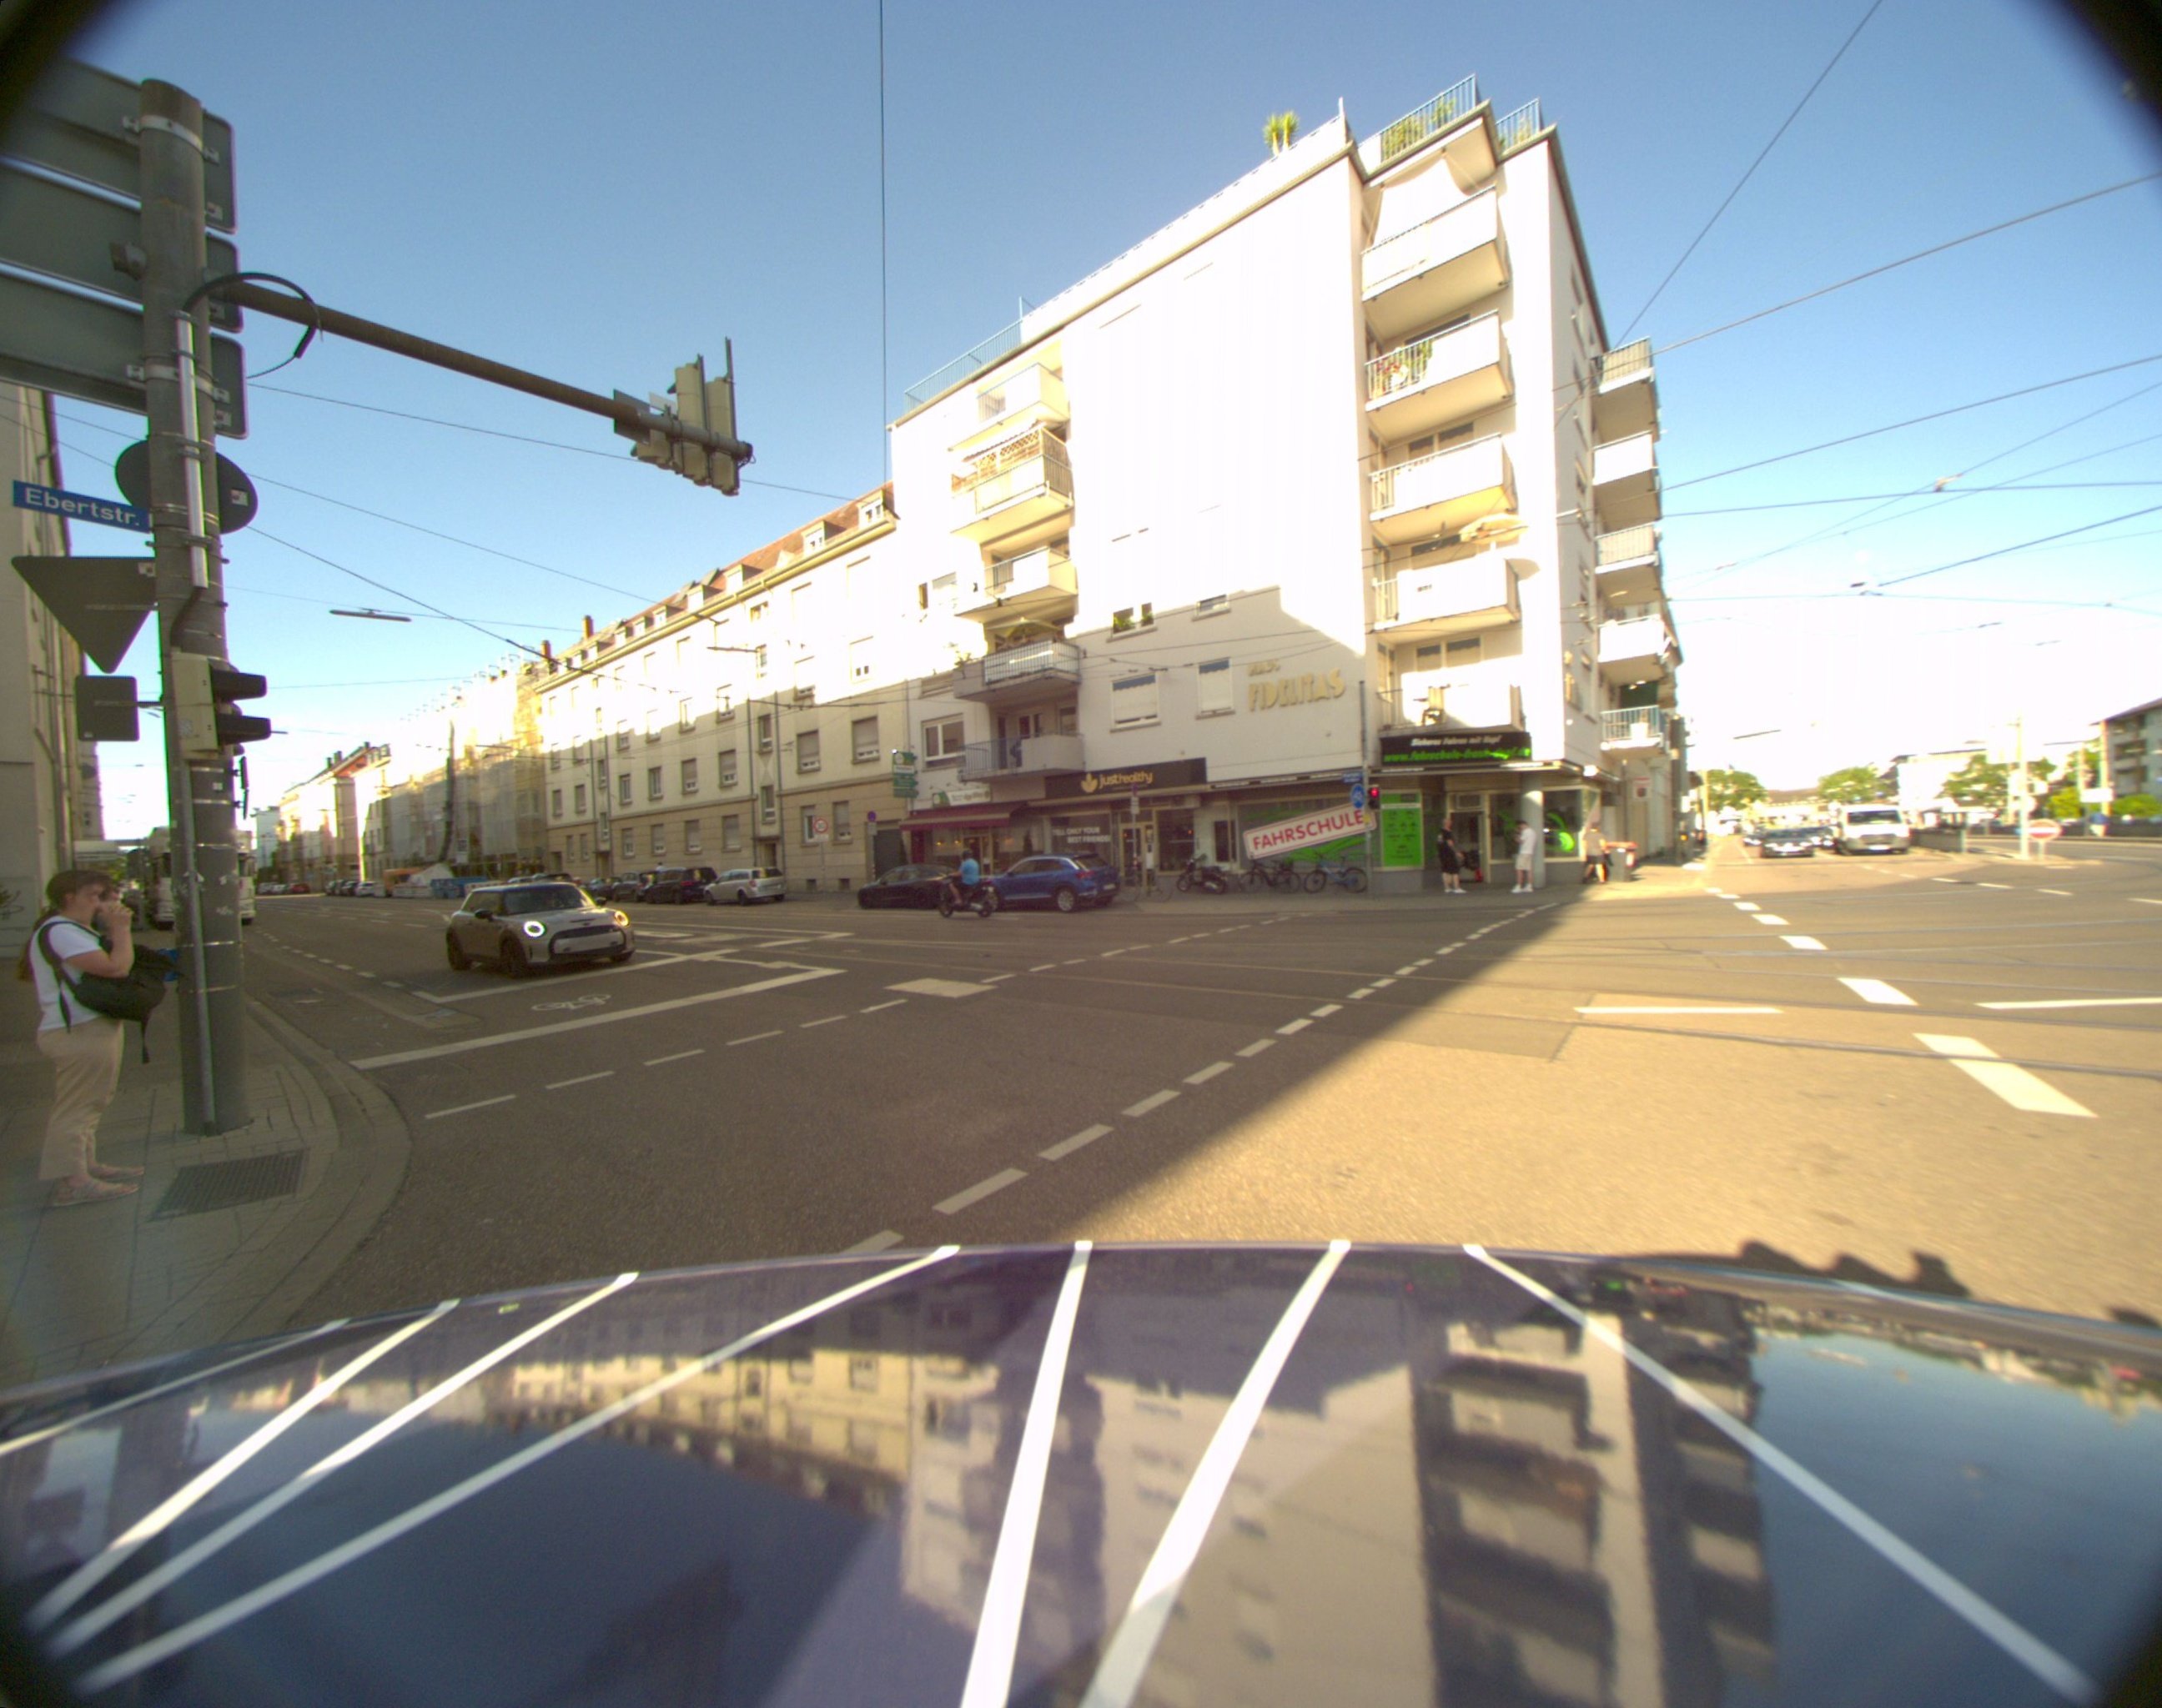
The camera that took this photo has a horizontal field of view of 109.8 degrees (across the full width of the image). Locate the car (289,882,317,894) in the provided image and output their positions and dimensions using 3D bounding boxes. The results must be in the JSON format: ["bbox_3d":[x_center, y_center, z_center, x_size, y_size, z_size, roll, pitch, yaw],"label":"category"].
[{"bbox_3d":[-108.770,4.725,106.213,4.946,1.519,2.236,-2,3,39],"label":"car"}]

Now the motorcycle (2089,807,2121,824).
[{"bbox_3d":[69.136,-2.601,51.313,0.855,1.041,1.945,-1,3,39],"label":"motorcycle"}]

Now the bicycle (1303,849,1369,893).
[{"bbox_3d":[6.814,0.460,20.329,1.534,1.100,0.554,-1,4,40],"label":"bicycle"}]

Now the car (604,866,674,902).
[{"bbox_3d":[-21.795,1.479,37.453,3.585,1.550,1.647,-2,4,38],"label":"car"}]

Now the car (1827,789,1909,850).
[{"bbox_3d":[36.464,-1.641,35.322,2.335,2.504,4.862,-1,4,42],"label":"car"}]

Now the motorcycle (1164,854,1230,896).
[{"bbox_3d":[3.387,0.617,22.258,1.792,1.128,0.610,-2,4,38],"label":"motorcycle"}]

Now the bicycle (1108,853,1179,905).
[{"bbox_3d":[1.662,0.656,20.389,1.792,1.307,0.610,-1,4,38],"label":"bicycle"}]

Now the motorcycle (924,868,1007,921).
[{"bbox_3d":[-2.805,0.986,18.374,1.960,1.212,0.715,-3,-1,34],"label":"motorcycle"}]

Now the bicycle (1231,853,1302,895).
[{"bbox_3d":[5.193,0.566,21.312,1.792,1.082,0.610,-2,4,38],"label":"bicycle"}]

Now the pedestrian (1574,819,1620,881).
[{"bbox_3d":[13.931,-0.114,20.536,0.761,1.642,0.698,0,2,-28],"label":"pedestrian"}]

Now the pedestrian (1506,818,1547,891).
[{"bbox_3d":[11.177,0.016,19.047,0.660,1.782,0.739,-2,2,45],"label":"pedestrian"}]

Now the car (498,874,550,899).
[{"bbox_3d":[-35.266,2.020,48.104,3.498,1.373,1.568,-2,4,37],"label":"car"}]

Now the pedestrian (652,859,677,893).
[{"bbox_3d":[-22.686,1.208,41.372,1.003,1.758,0.665,-2,3,31],"label":"pedestrian"}]

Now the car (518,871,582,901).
[{"bbox_3d":[-31.787,1.900,45.441,4.148,1.600,1.755,-2,4,37],"label":"car"}]

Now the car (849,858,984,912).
[{"bbox_3d":[-5.368,0.982,24.578,4.433,1.467,1.777,-2,3,39],"label":"car"}]

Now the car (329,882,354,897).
[{"bbox_3d":[-84.458,4.043,86.779,3.590,1.519,1.536,-1,3,39],"label":"car"}]

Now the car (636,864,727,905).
[{"bbox_3d":[-18.139,1.363,34.431,4.313,1.625,1.823,-2,4,37],"label":"car"}]

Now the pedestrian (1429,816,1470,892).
[{"bbox_3d":[9.386,-0.023,19.373,0.576,1.890,0.737,-3,4,-34],"label":"pedestrian"}]

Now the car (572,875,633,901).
[{"bbox_3d":[-25.409,1.785,40.306,3.514,1.213,1.479,-2,4,37],"label":"car"}]

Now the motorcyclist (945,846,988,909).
[{"bbox_3d":[-2.771,0.560,18.341,0.683,1.487,0.697,-3,-1,34],"label":"motorcyclist"}]

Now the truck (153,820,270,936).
[{"bbox_3d":[-37.434,0.915,32.539,11.744,4.214,2.707,-1,2,39],"label":"truck"}]

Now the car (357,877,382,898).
[{"bbox_3d":[-71.329,3.320,76.159,1.662,1.912,3.754,-6,4,-44],"label":"car"}]

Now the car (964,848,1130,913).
[{"bbox_3d":[-0.981,0.754,20.799,4.226,1.495,1.777,-3,3,36],"label":"car"}]

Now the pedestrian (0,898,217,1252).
[{"bbox_3d":[-5.081,1.056,3.928,0.542,1.614,0.731,2,0,-27],"label":"pedestrian"}]

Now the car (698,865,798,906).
[{"bbox_3d":[-13.669,1.272,31.103,4.359,1.446,1.733,-2,4,37],"label":"car"}]

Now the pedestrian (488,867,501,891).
[{"bbox_3d":[-46.681,2.005,60.502,0.761,1.862,0.520,-1,4,38],"label":"pedestrian"}]

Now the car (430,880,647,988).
[{"bbox_3d":[-9.286,1.283,12.925,3.807,1.417,1.731,-3,3,35],"label":"car"}]

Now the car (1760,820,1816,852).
[{"bbox_3d":[34.220,-0.871,36.832,1.878,1.406,3.937,-1,1,42],"label":"car"}]

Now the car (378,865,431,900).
[{"bbox_3d":[-57.589,2.390,64.678,5.857,2.682,2.220,-2,3,39],"label":"car"}]

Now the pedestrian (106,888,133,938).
[{"bbox_3d":[-31.680,1.938,25.046,0.466,1.620,0.476,-1,2,40],"label":"pedestrian"}]

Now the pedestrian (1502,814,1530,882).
[{"bbox_3d":[12.032,-0.166,21.016,0.597,1.845,0.519,-1,4,35],"label":"pedestrian"}]

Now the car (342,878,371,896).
[{"bbox_3d":[-75.935,3.419,79.586,3.926,1.675,1.573,-1,3,39],"label":"car"}]
